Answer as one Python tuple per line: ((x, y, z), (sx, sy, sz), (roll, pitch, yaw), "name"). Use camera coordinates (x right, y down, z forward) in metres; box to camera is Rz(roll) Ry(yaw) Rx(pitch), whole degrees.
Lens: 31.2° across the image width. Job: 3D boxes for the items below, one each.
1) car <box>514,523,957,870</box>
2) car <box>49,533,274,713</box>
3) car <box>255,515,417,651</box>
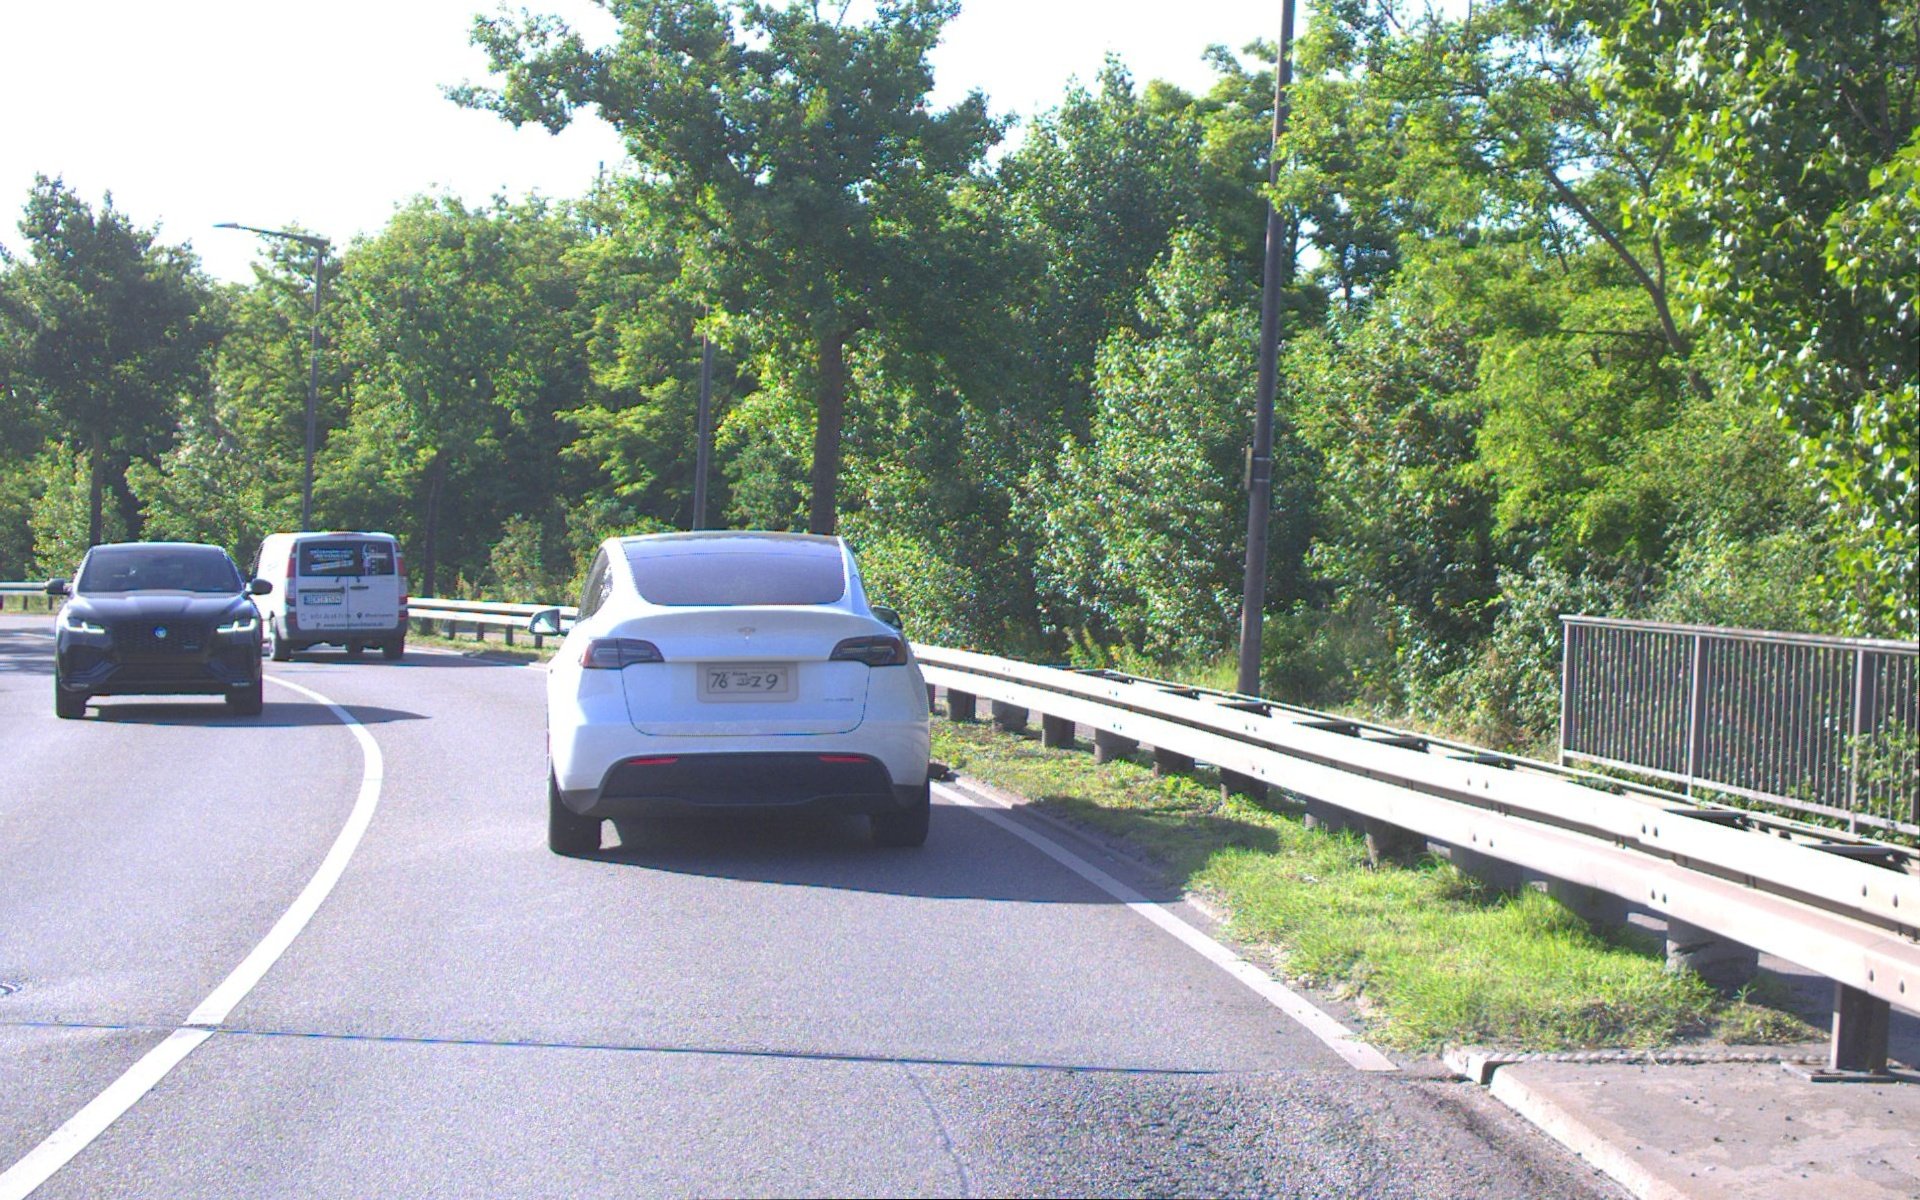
((-1.318, 0.416, 18.375), (1.985, 1.632, 4.064), (0, 1, -9), "car")
((-7.769, 0.166, 33.771), (1.898, 1.637, 4.465), (0, 1, -10), "car")
((-9.367, -0.285, 51.334), (2.004, 1.934, 4.469), (0, 1, -15), "car")
